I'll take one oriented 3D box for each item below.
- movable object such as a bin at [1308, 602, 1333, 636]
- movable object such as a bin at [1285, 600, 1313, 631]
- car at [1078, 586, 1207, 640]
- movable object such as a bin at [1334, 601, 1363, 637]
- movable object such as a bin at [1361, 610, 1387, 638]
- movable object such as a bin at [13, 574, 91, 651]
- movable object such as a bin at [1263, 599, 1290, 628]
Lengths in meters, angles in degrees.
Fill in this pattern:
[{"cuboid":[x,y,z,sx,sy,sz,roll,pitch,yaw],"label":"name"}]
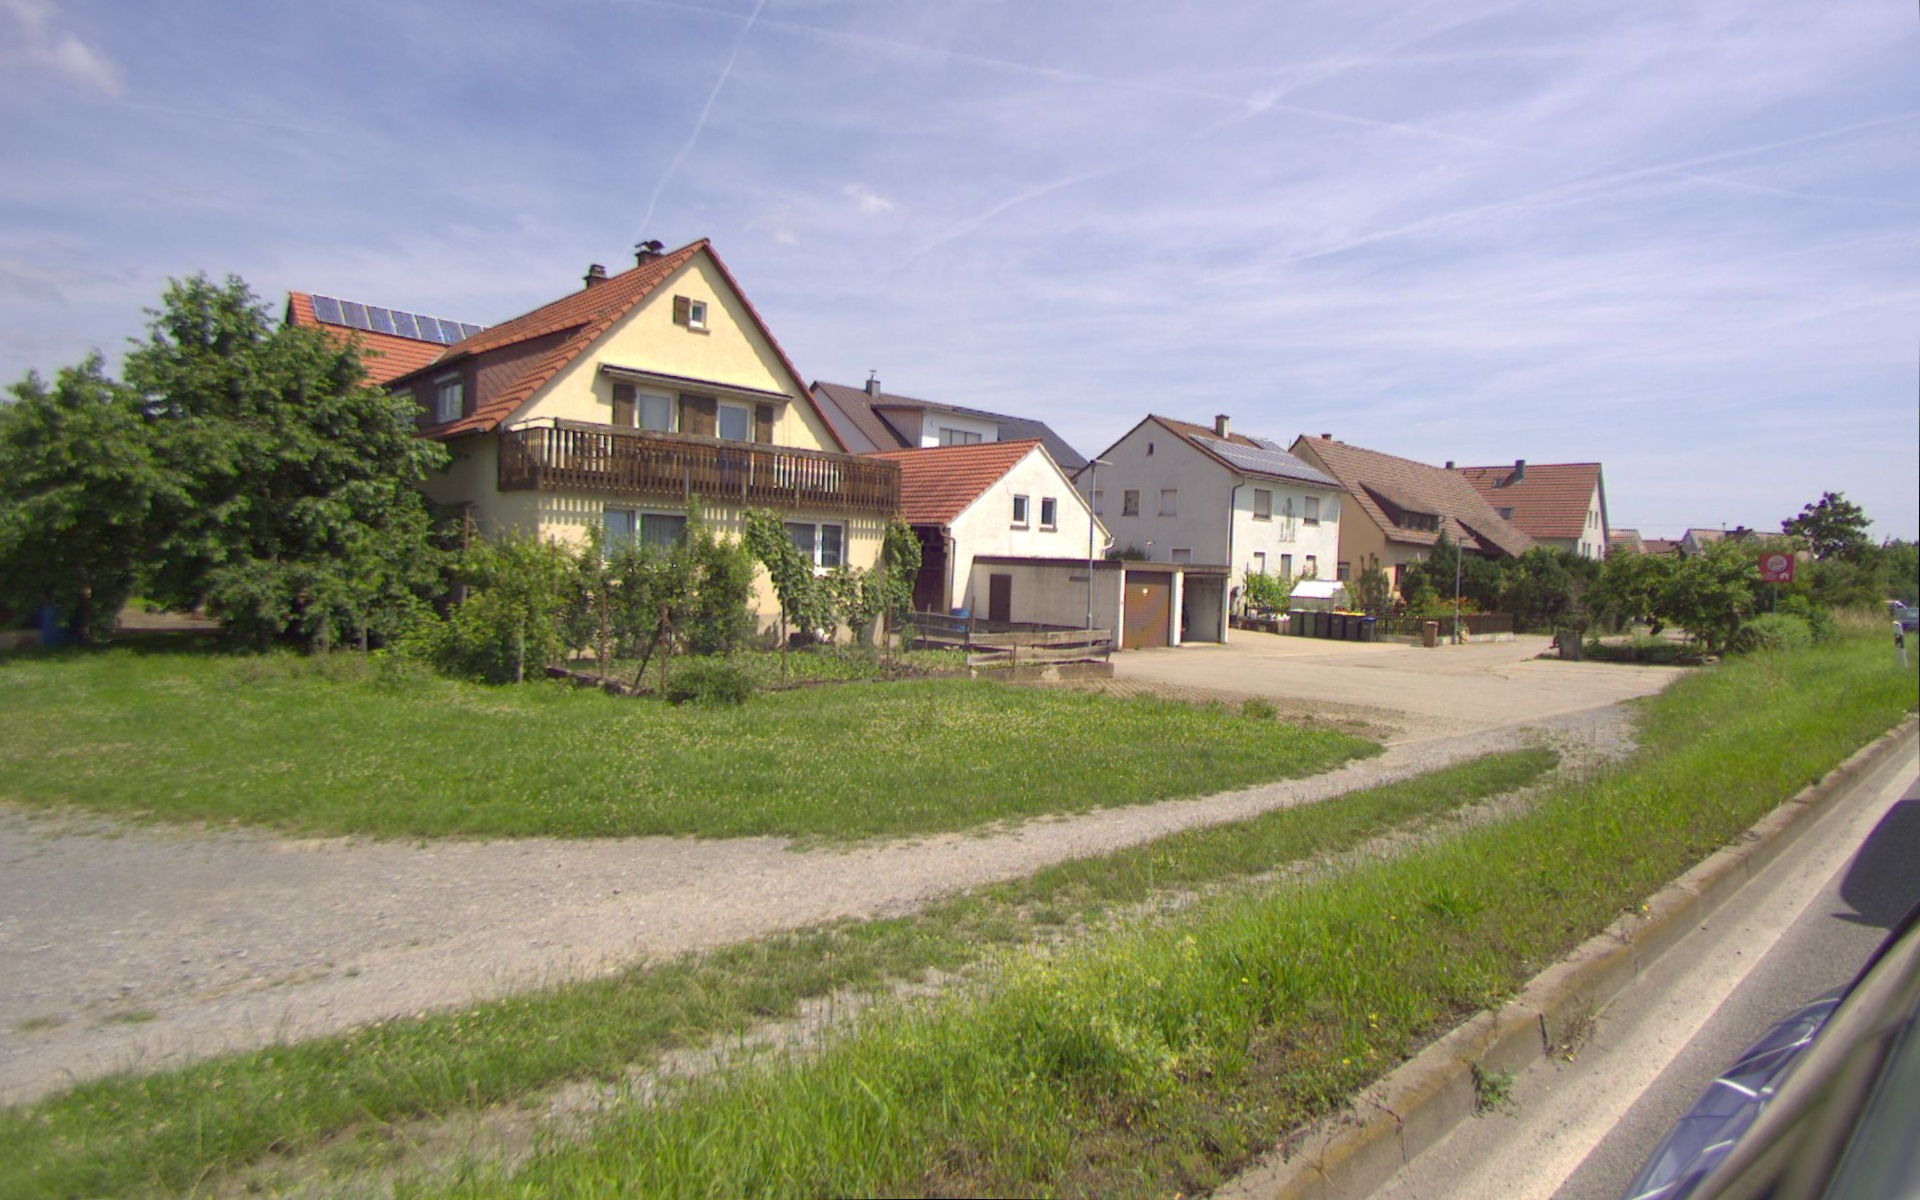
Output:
[{"cuboid":[14.650,0.757,41.103,0.806,1.355,0.677,1,0,-43],"label":"movable object such as a bin"},{"cuboid":[13.967,0.624,41.719,0.874,1.262,0.744,1,0,-43],"label":"movable object such as a bin"},{"cuboid":[6.023,0.378,33.697,1.794,1.623,3.994,1,1,-41],"label":"car"},{"cuboid":[15.314,0.738,39.896,0.930,1.387,0.764,1,0,-43],"label":"movable object such as a bin"},{"cuboid":[16.037,0.920,39.201,0.743,1.040,0.645,1,0,-43],"label":"movable object such as a bin"},{"cuboid":[-17.395,0.215,19.430,1.045,1.415,1.276,1,0,-40],"label":"movable object such as a bin"},{"cuboid":[13.232,0.551,42.307,0.816,1.171,0.739,1,0,-43],"label":"movable object such as a bin"}]
